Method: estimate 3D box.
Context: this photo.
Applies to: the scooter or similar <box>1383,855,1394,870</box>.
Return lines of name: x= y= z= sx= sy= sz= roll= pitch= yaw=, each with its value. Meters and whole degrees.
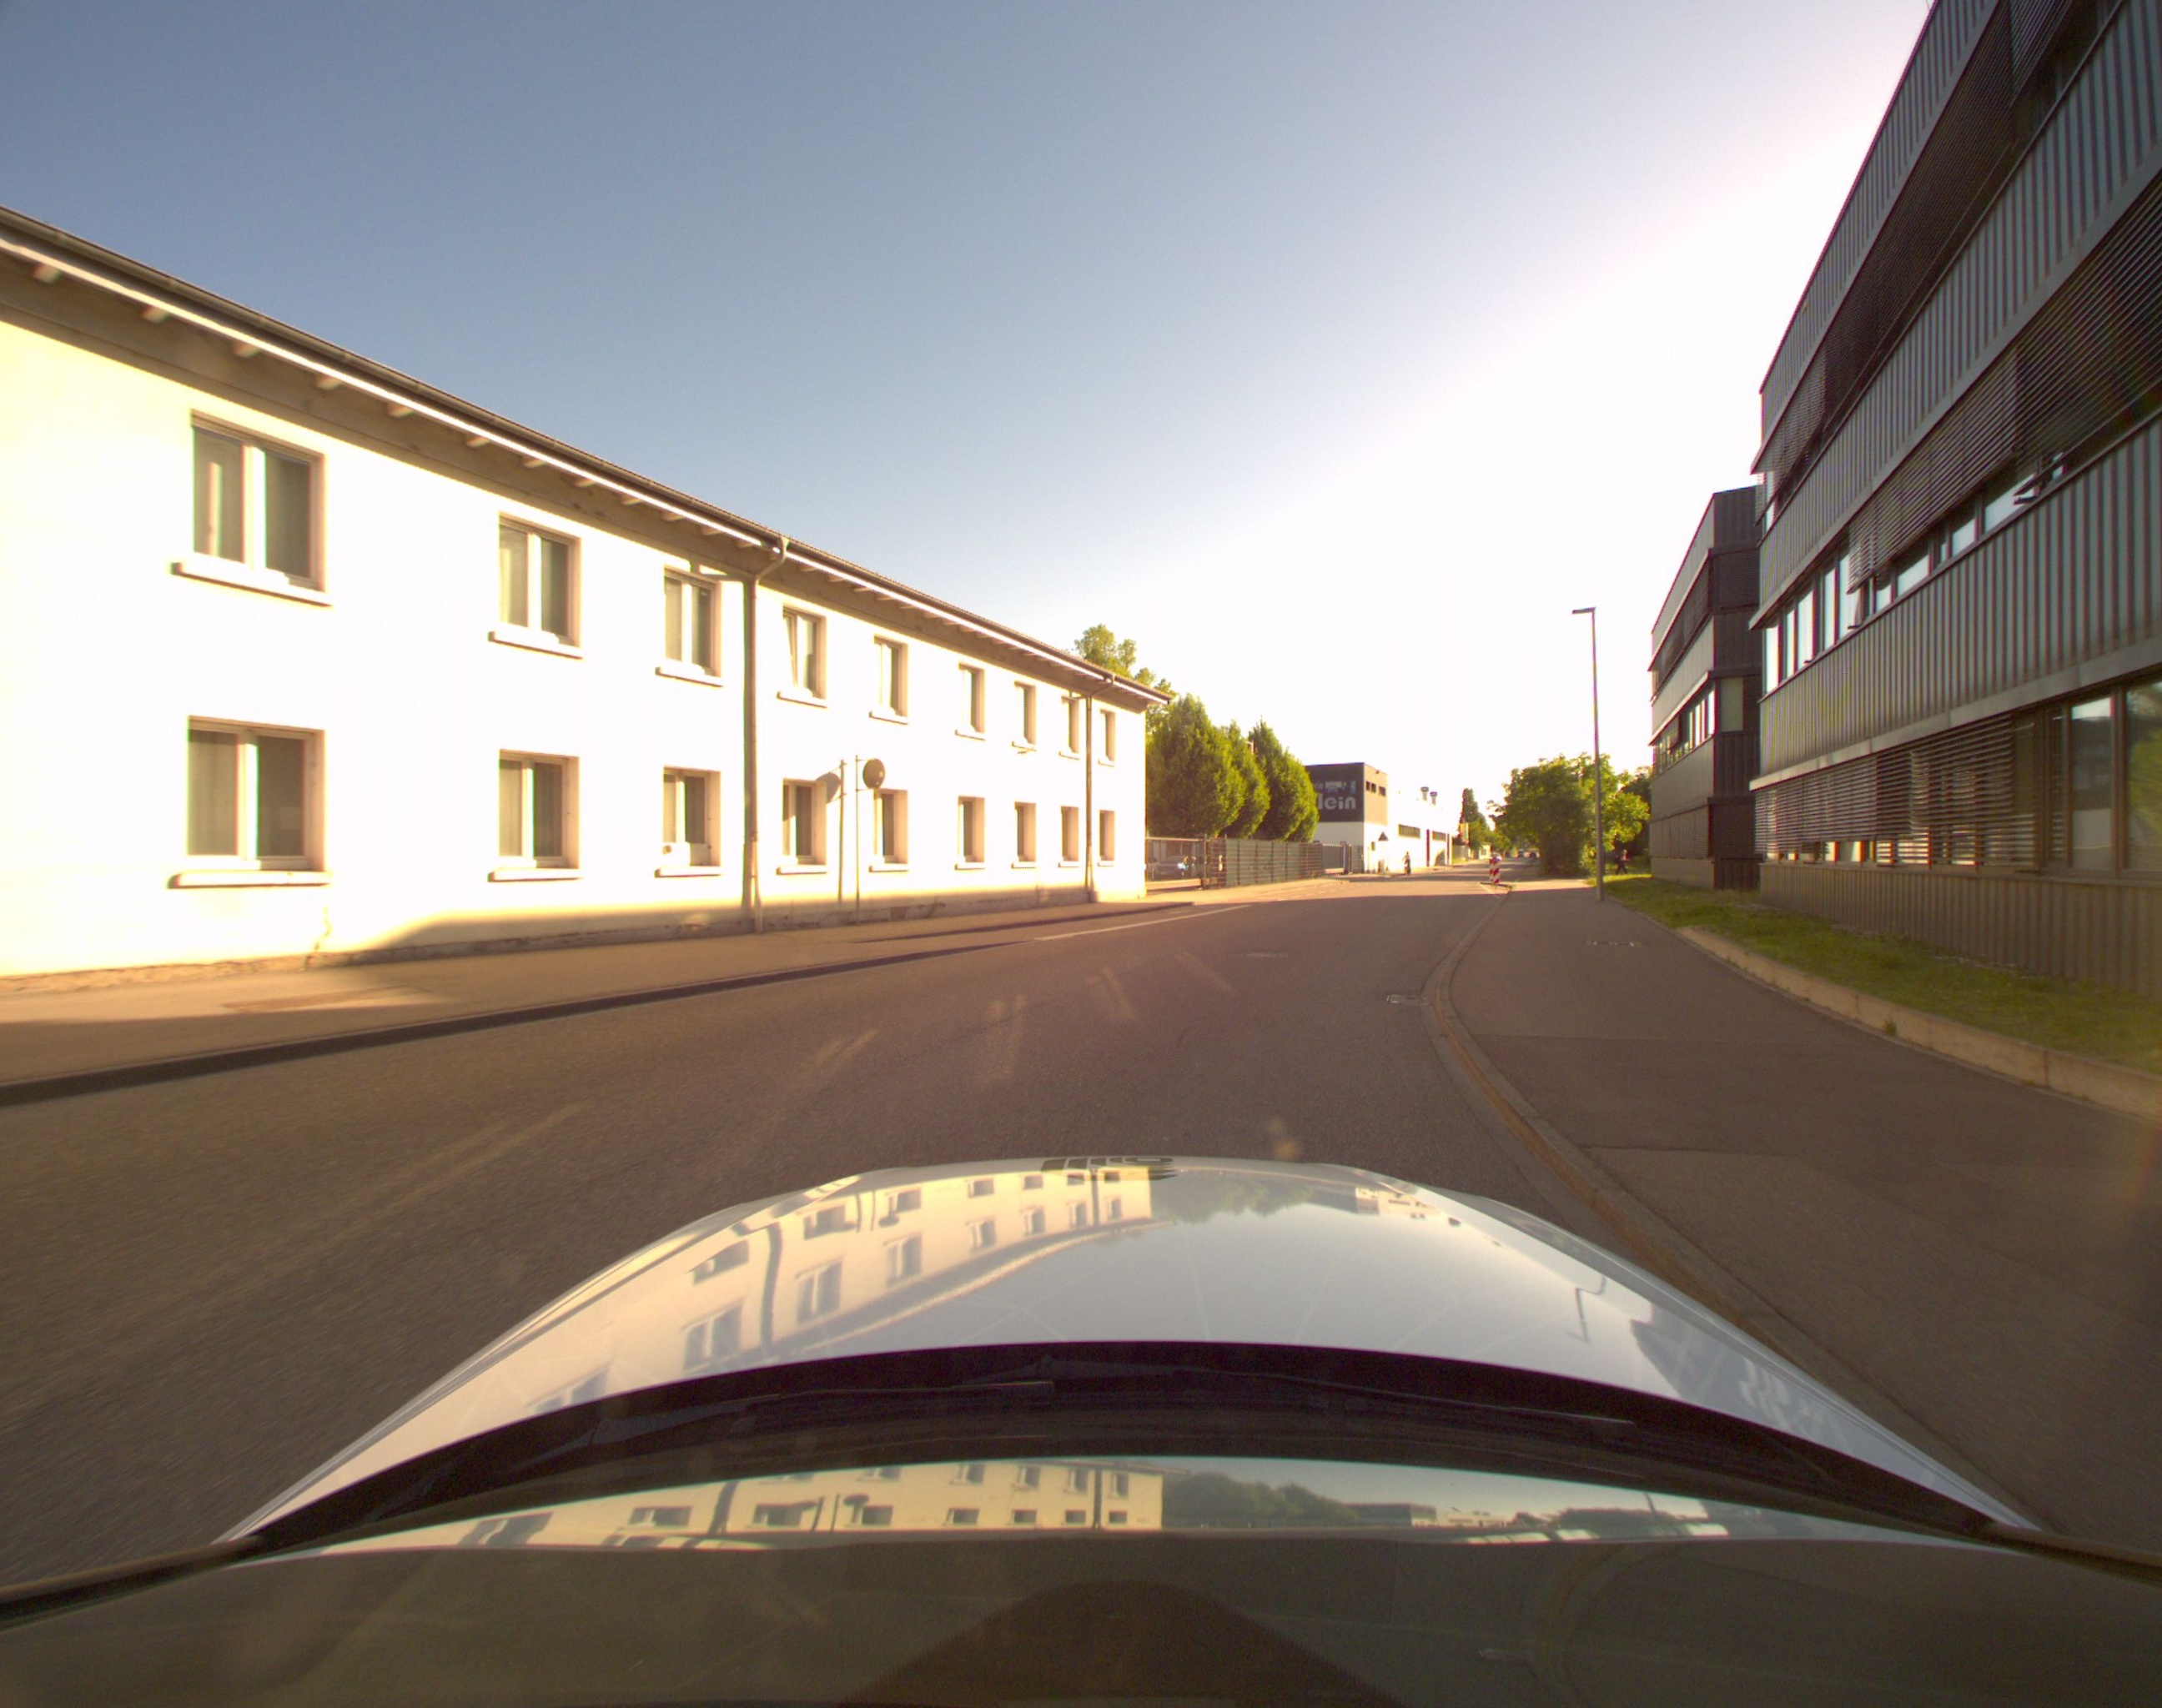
scooter or similar: x=25.293 y=0.712 z=66.933 sx=0.502 sy=1.203 sz=1.764 roll=3 pitch=1 yaw=30

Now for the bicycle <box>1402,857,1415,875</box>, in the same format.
bicycle: x=24.114 y=0.862 z=59.930 sx=0.661 sy=1.288 sz=2.185 roll=-1 pitch=0 yaw=28

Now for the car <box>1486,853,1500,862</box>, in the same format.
car: x=69.113 y=0.574 z=136.568 sx=1.800 sy=1.489 sz=4.024 roll=-4 pitch=-2 yaw=28

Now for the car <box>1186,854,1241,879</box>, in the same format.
car: x=8.055 y=0.715 z=49.312 sx=1.974 sy=1.451 sz=4.025 roll=0 pitch=0 yaw=30

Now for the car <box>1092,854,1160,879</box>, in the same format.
car: x=2.887 y=0.810 z=52.783 sx=3.949 sy=1.540 sz=1.887 roll=-1 pitch=-1 yaw=30

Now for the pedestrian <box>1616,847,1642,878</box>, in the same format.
pedestrian: x=33.509 y=0.527 z=49.812 sx=1.141 sy=1.792 sz=0.901 roll=-3 pitch=-2 yaw=26

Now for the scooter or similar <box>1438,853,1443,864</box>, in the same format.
scooter or similar: x=42.744 y=0.554 z=96.855 sx=0.412 sy=1.267 sz=1.066 roll=0 pitch=0 yaw=30

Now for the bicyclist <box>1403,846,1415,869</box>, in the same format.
bicyclist: x=24.122 y=0.268 z=59.929 sx=0.739 sy=1.628 sz=0.839 roll=-1 pitch=0 yaw=28

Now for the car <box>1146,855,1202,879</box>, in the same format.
car: x=5.807 y=0.765 z=50.518 sx=1.974 sy=1.451 sz=4.025 roll=0 pitch=0 yaw=30
